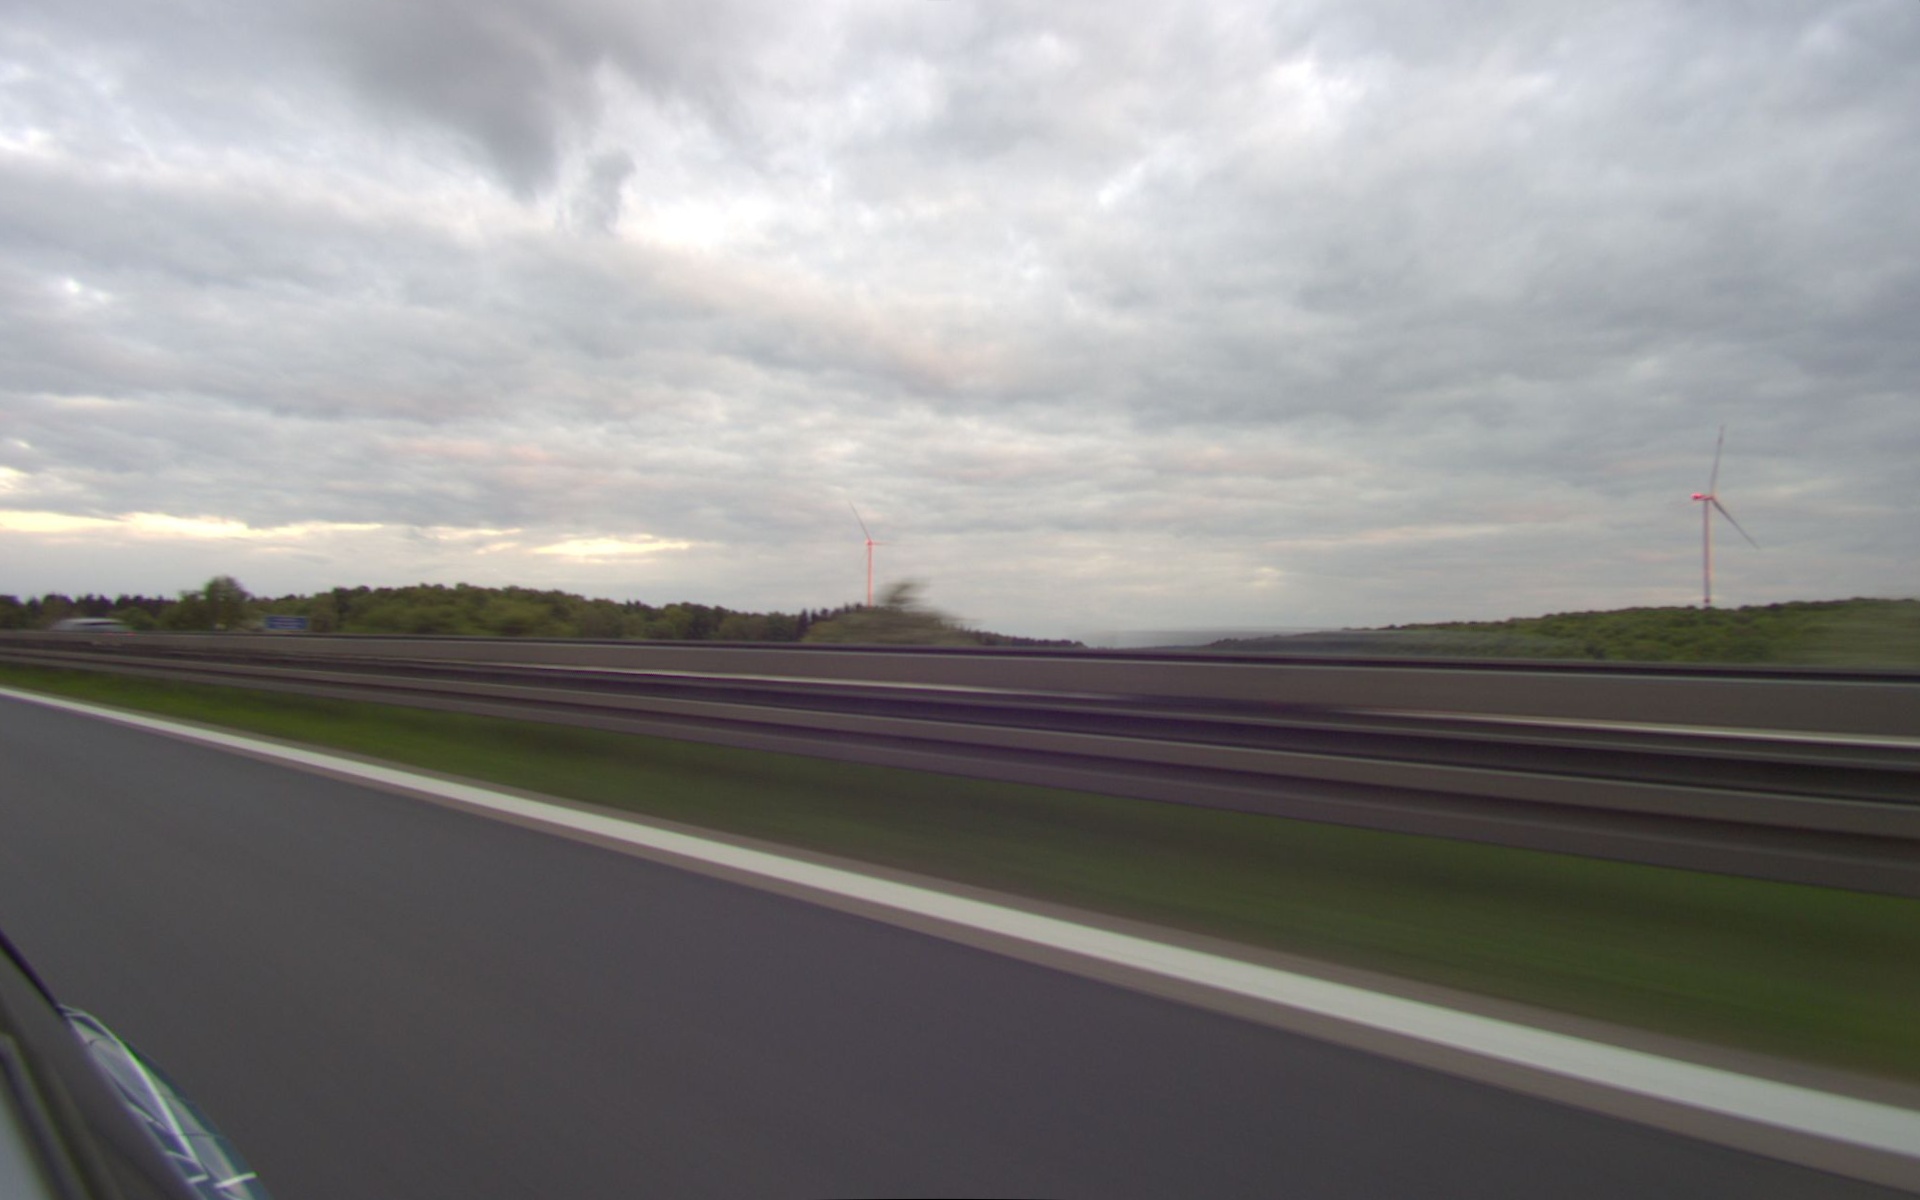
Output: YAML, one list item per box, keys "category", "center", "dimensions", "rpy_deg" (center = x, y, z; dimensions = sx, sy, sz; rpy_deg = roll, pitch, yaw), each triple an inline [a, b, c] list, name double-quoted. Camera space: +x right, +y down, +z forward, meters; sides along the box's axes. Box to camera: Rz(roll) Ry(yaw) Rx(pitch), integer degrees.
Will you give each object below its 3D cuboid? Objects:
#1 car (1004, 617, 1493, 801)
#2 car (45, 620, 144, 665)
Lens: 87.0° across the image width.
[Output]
- category: "car"
  center: [2.591, 0.904, 9.708]
  dimensions: [4.242, 1.403, 1.590]
  rpy_deg: [-2, -3, 39]
- category: "car"
  center: [-32.748, 1.592, 38.275]
  dimensions: [4.399, 1.608, 1.825]
  rpy_deg: [-1, -4, 36]
